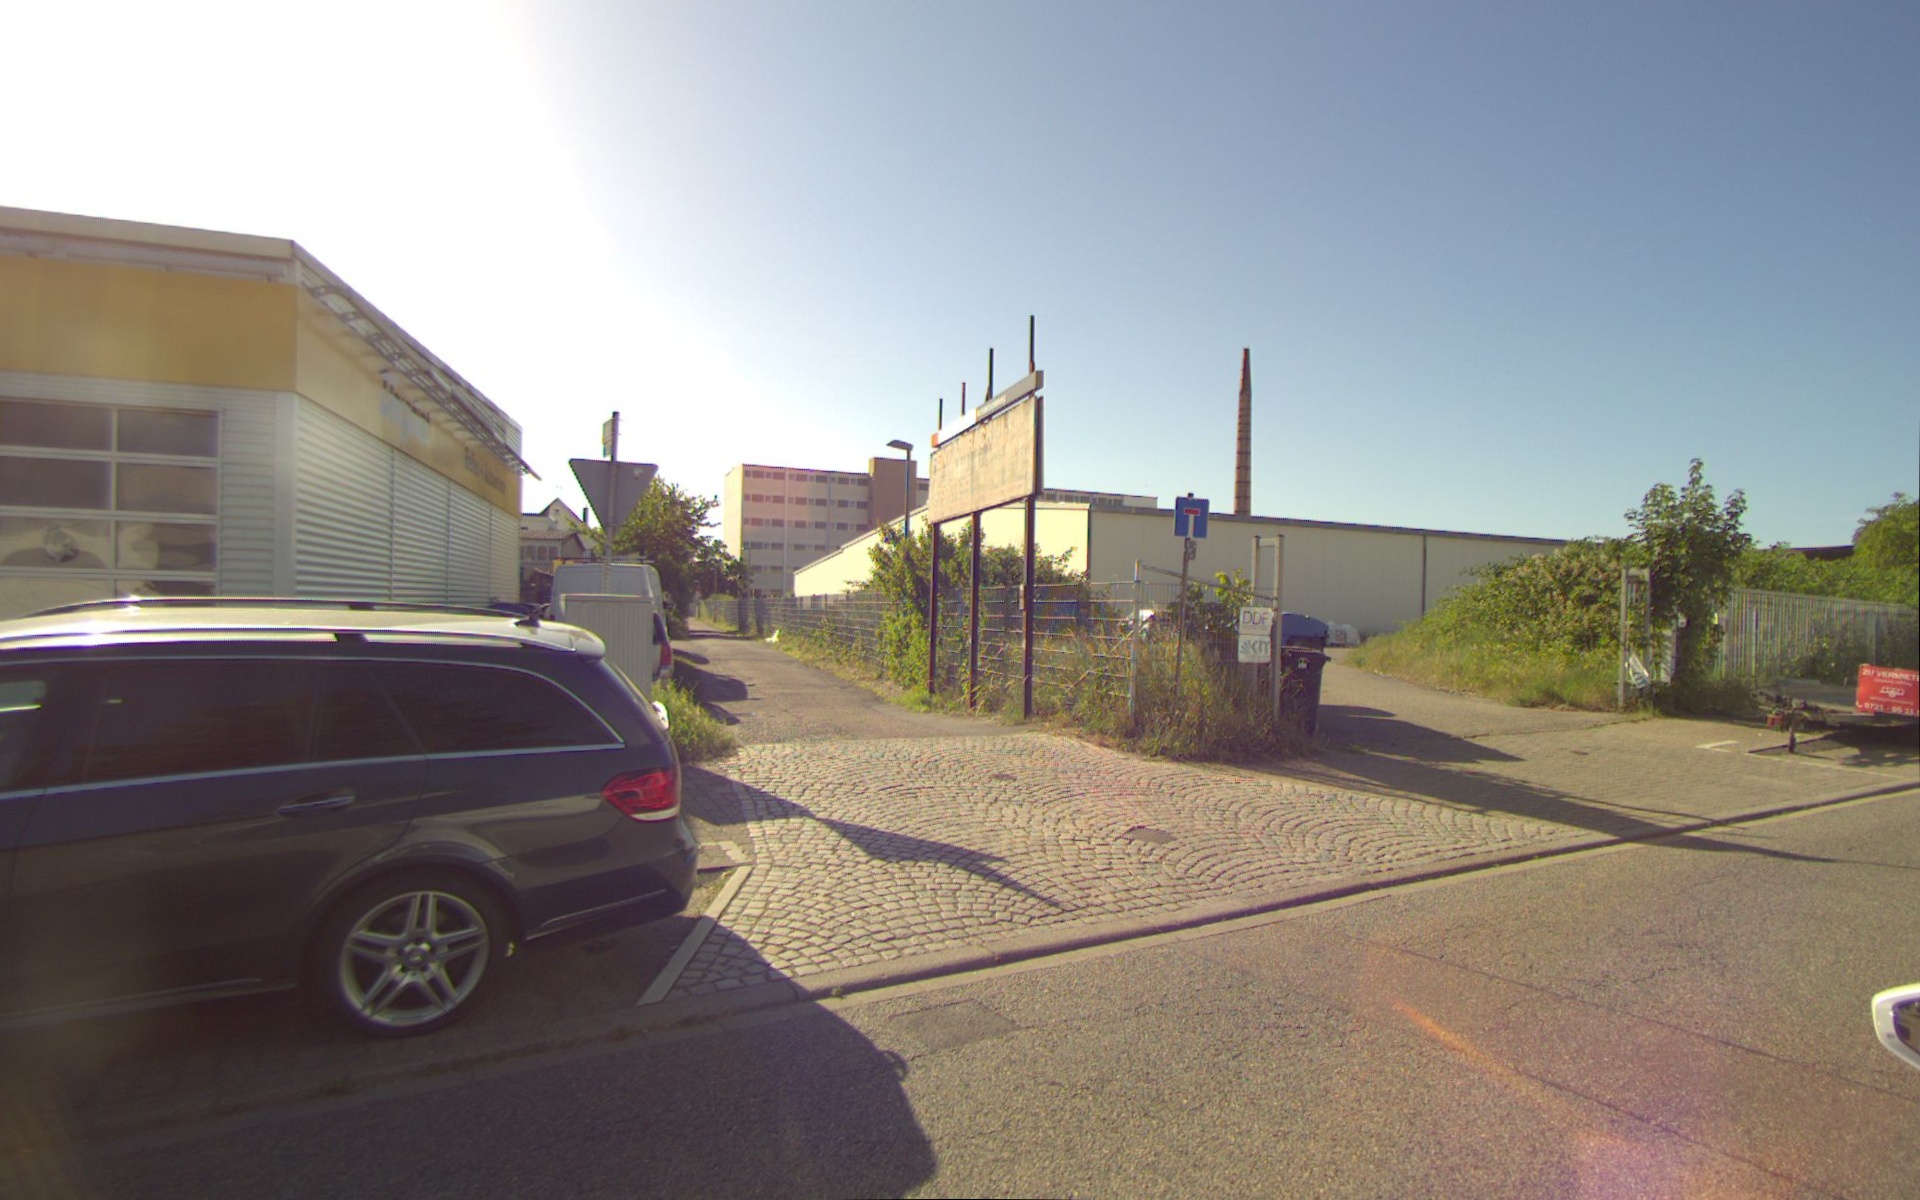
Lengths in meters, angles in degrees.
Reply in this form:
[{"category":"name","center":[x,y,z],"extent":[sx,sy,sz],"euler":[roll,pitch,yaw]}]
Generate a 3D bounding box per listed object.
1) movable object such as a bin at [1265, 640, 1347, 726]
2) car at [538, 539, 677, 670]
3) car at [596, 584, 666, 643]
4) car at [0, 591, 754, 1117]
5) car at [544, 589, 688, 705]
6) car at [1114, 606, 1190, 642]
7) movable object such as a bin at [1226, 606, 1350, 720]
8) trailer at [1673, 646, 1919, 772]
[{"category":"movable object such as a bin","center":[4.272,1.016,12.430],"extent":[0.735,0.985,0.616],"euler":[3,-1,-6]},{"category":"car","center":[-7.407,0.109,21.699],"extent":[2.168,2.438,5.443],"euler":[1,0,-13]},{"category":"car","center":[-9.714,0.383,29.849],"extent":[1.819,1.595,4.156],"euler":[1,0,-17]},{"category":"car","center":[-3.485,0.797,3.854],"extent":[4.943,1.530,1.791],"euler":[2,3,-30]},{"category":"car","center":[-5.511,0.667,16.086],"extent":[1.887,1.595,4.153],"euler":[2,0,-20]},{"category":"car","center":[9.127,1.116,48.131],"extent":[1.819,1.595,4.156],"euler":[1,0,-17]},{"category":"movable object such as a bin","center":[4.425,0.811,13.693],"extent":[1.074,1.424,1.623],"euler":[2,0,-2]},{"category":"trailer","center":[12.743,1.342,13.923],"extent":[6.174,1.094,2.363],"euler":[1,4,-31]}]
